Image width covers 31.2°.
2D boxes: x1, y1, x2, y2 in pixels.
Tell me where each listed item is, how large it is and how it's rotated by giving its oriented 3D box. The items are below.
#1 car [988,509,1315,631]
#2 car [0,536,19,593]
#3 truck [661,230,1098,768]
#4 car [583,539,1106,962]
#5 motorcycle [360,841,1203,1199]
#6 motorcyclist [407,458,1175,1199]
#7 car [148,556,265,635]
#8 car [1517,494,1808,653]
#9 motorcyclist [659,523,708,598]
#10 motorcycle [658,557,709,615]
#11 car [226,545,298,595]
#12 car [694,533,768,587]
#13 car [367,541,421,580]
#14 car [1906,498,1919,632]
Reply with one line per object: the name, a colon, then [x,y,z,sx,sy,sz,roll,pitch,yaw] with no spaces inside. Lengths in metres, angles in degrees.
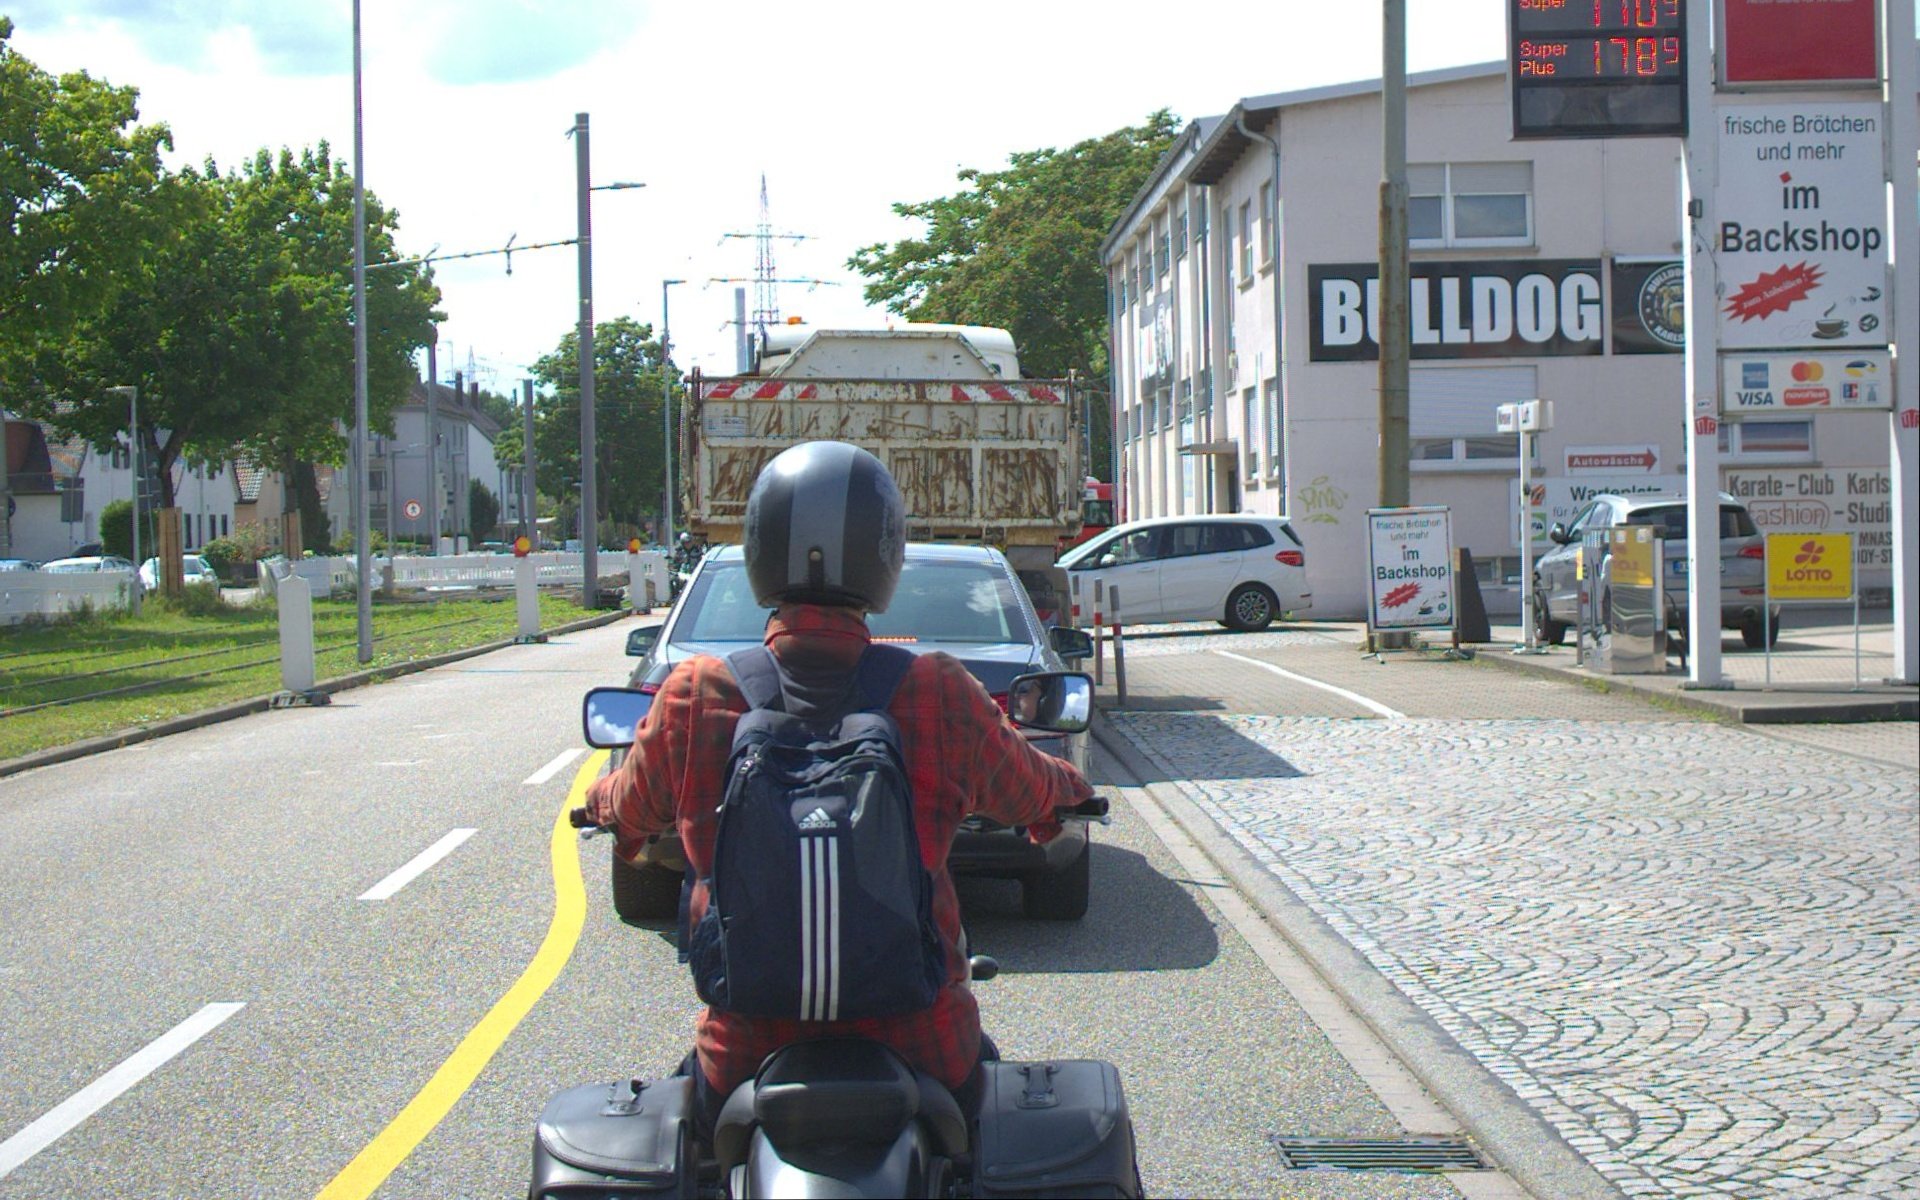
car: [2.591,-0.421,47.060,4.229,1.537,1.673,-1,1,-6]
car: [-30.039,-1.066,104.409,1.776,1.717,4.128,-1,1,0]
truck: [-0.543,-0.717,25.365,2.638,3.285,8.057,-1,1,-1]
car: [-0.430,0.498,14.139,1.823,1.447,4.000,1,1,-1]
motorcycle: [-0.214,0.954,5.340,0.979,0.894,2.653,-1,1,-1]
motorcyclist: [-0.218,0.612,5.029,0.979,1.597,1.088,-1,1,-1]
car: [-17.494,-0.134,79.963,1.776,1.717,4.128,-1,1,0]
car: [7.379,-0.308,36.522,1.667,1.557,4.245,-1,1,-8]
motorcyclist: [-5.115,-0.736,63.656,0.868,1.373,0.800,-1,1,-3]
motorcycle: [-5.122,-0.276,63.736,0.868,1.017,2.245,-1,1,-3]
car: [-25.412,-1.104,125.245,1.776,1.717,4.128,-1,1,0]
car: [-6.560,-1.168,98.712,1.823,1.447,4.324,-2,1,-1]
car: [-26.426,-1.857,160.664,1.776,1.717,4.250,-1,1,0]
car: [11.734,-0.383,37.091,1.806,1.498,3.834,-1,1,-3]
